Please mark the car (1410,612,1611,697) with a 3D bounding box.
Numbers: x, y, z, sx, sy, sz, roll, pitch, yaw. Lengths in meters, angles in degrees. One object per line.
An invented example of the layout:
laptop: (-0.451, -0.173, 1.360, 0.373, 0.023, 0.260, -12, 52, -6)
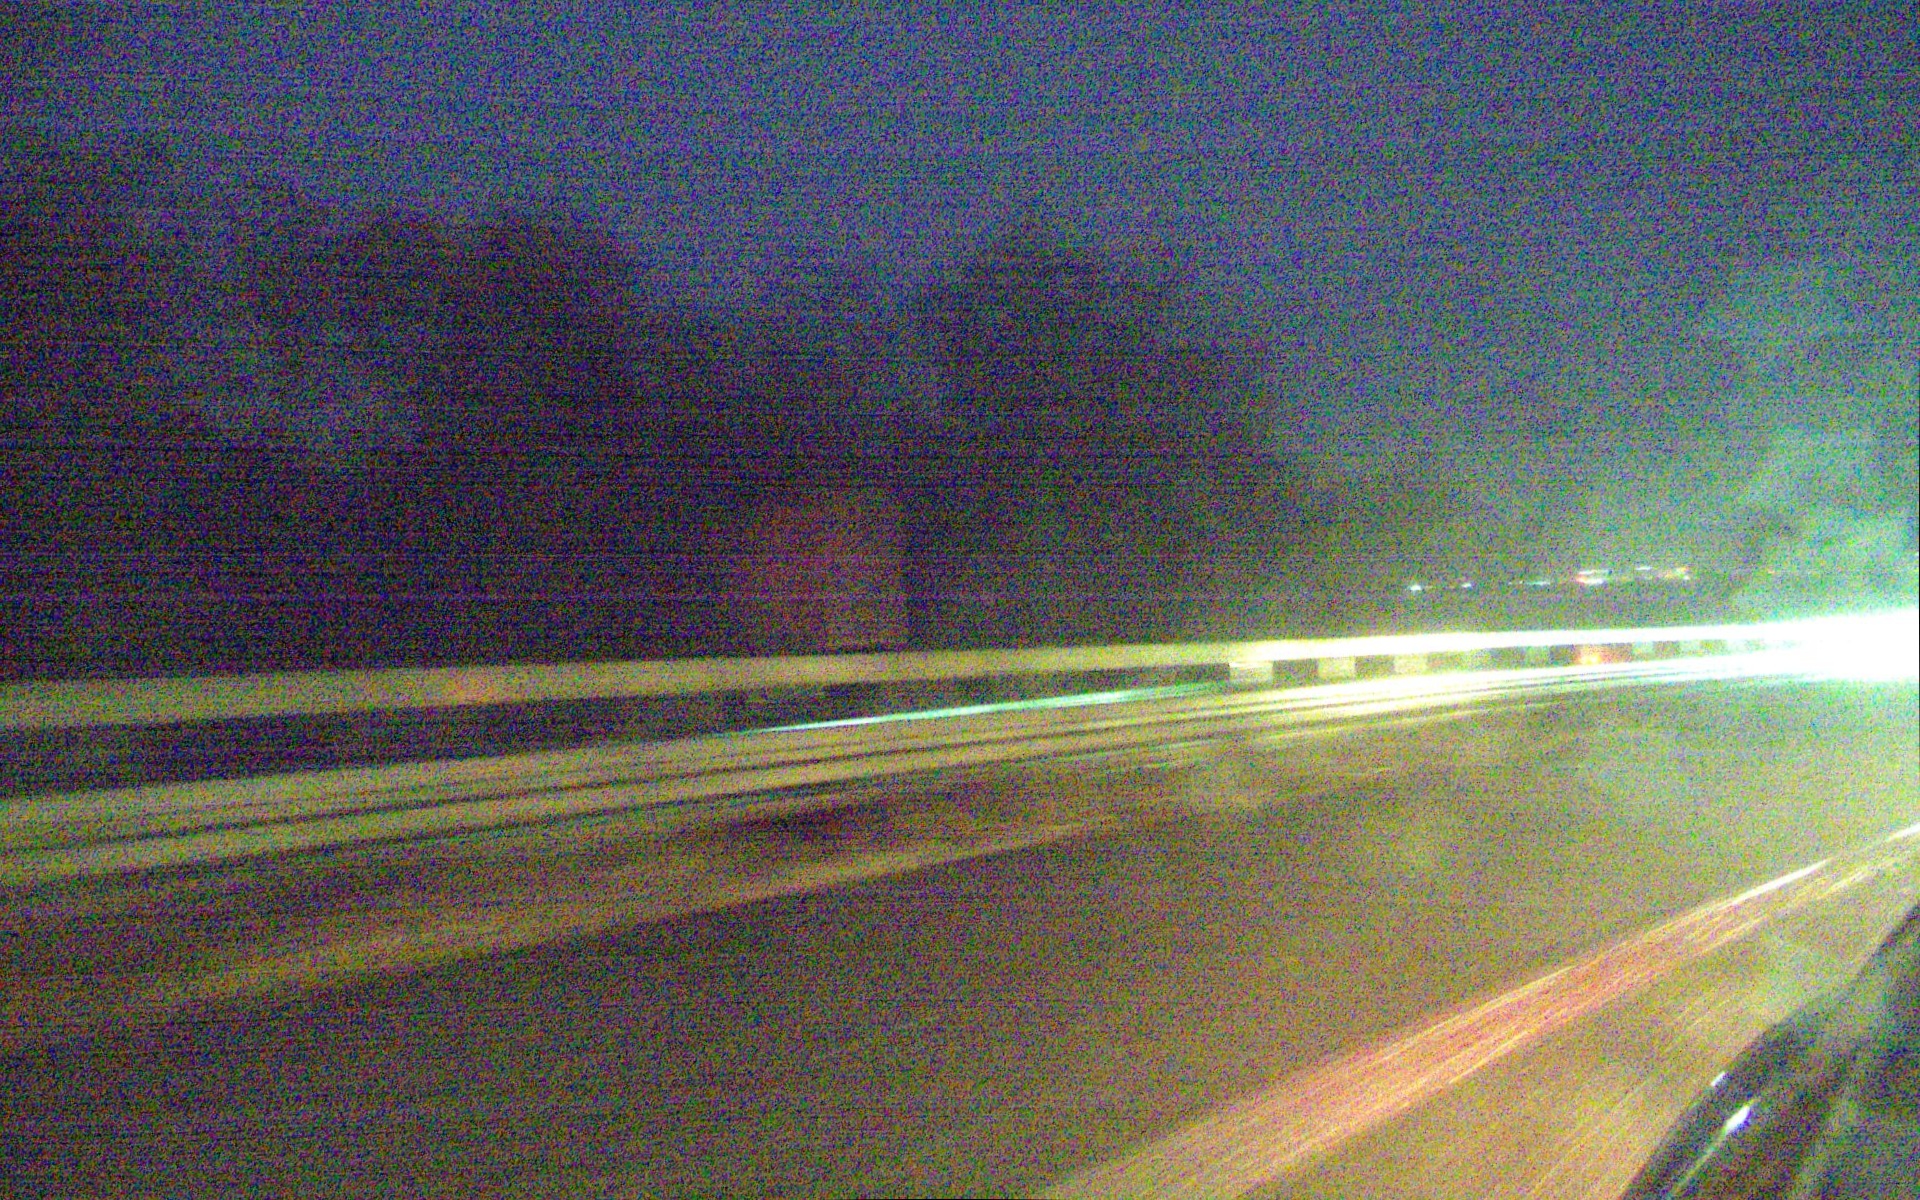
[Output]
car: (13.040, 1.268, 24.025, 4.034, 1.706, 1.745, -3, -3, -16)
